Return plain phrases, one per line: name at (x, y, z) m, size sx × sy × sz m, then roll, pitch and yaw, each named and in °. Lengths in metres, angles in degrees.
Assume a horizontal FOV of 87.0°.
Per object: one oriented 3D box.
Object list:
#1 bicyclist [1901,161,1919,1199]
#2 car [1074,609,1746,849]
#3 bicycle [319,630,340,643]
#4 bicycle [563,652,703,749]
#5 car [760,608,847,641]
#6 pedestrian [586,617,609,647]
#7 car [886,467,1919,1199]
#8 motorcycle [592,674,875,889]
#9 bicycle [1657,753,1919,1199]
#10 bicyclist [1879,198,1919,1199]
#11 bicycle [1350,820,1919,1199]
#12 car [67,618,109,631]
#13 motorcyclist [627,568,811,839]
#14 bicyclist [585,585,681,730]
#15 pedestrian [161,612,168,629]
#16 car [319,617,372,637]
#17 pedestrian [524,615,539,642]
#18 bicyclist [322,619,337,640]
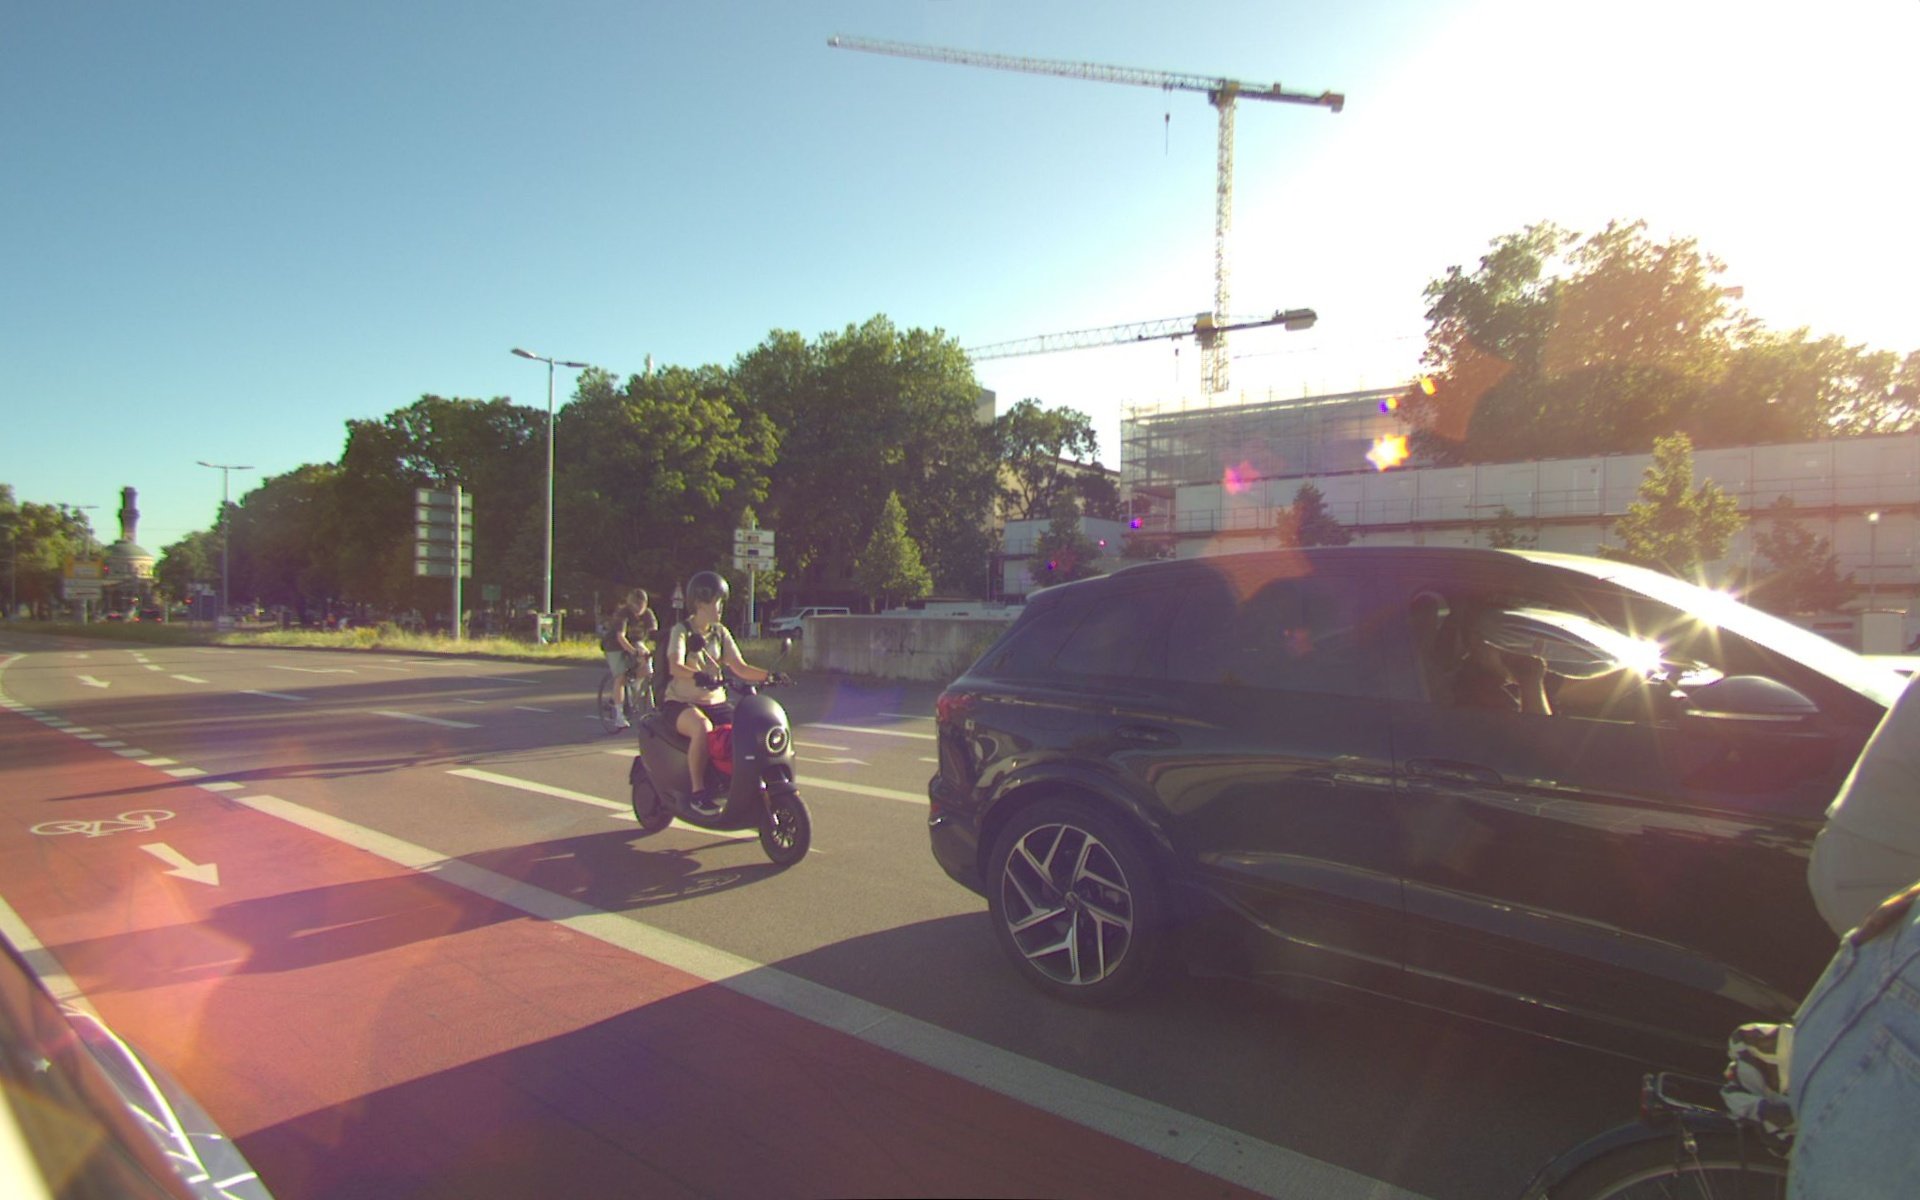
bicyclist at (1.114, 0.386, 0.541) m, size 0.847 × 1.554 × 0.643 m, roll -1°, pitch -2°, yaw 41°
car at (3.259, 0.758, 7.945) m, size 4.524 × 1.362 × 1.753 m, roll 0°, pitch 0°, yaw 41°
bicycle at (-41.269, 2.383, 66.207) m, size 1.979 × 0.810 × 0.609 m, roll -1°, pitch -2°, yaw 41°
bicycle at (-3.643, 1.071, 11.183) m, size 1.910 × 0.915 × 0.616 m, roll -1°, pitch -1°, yaw 42°
car at (-9.535, 1.514, 61.995) m, size 2.000 × 1.906 × 5.255 m, roll -2°, pitch -2°, yaw 42°
pedestrian at (-22.356, 1.963, 62.472) m, size 0.964 × 1.796 × 0.984 m, roll 0°, pitch 0°, yaw 41°
car at (2.234, 0.571, 3.463) m, size 4.786 × 1.675 × 2.172 m, roll -1°, pitch -1°, yaw 39°
motorcycle at (-1.431, 0.994, 6.123) m, size 0.746 × 0.976 × 1.961 m, roll 0°, pitch -1°, yaw -45°
bicycle at (1.779, 0.818, 0.936) m, size 1.815 × 1.125 × 0.617 m, roll -1°, pitch -2°, yaw 40°
bicyclist at (1.616, 0.340, 1.080) m, size 0.894 × 1.587 × 0.617 m, roll -1°, pitch -2°, yaw 40°
bicycle at (1.198, 0.822, 0.464) m, size 1.799 × 1.102 × 0.643 m, roll -1°, pitch -2°, yaw 40°
car at (-106.067, 2.979, 123.133) m, size 1.619 × 1.463 × 3.718 m, roll -1°, pitch -1°, yaw 42°
motorcyclist at (-1.475, 0.576, 6.174) m, size 0.746 × 1.495 × 0.882 m, roll 0°, pitch -1°, yaw -45°
bicyclist at (-3.609, 0.608, 11.157) m, size 0.937 × 1.514 × 0.616 m, roll -1°, pitch -1°, yaw 42°
pedestrian at (-97.476, 2.498, 124.058) m, size 0.594 × 2.029 × 0.519 m, roll -1°, pitch -2°, yaw 38°
car at (-37.306, 1.631, 61.380) m, size 3.767 × 1.141 × 1.598 m, roll 0°, pitch -1°, yaw 40°
pedestrian at (-27.395, 1.824, 64.669) m, size 0.697 × 1.740 × 0.656 m, roll -1°, pitch -2°, yaw 41°
bicyclist at (-41.263, 1.908, 66.214) m, size 0.768 × 1.377 × 0.609 m, roll -1°, pitch -2°, yaw 41°
